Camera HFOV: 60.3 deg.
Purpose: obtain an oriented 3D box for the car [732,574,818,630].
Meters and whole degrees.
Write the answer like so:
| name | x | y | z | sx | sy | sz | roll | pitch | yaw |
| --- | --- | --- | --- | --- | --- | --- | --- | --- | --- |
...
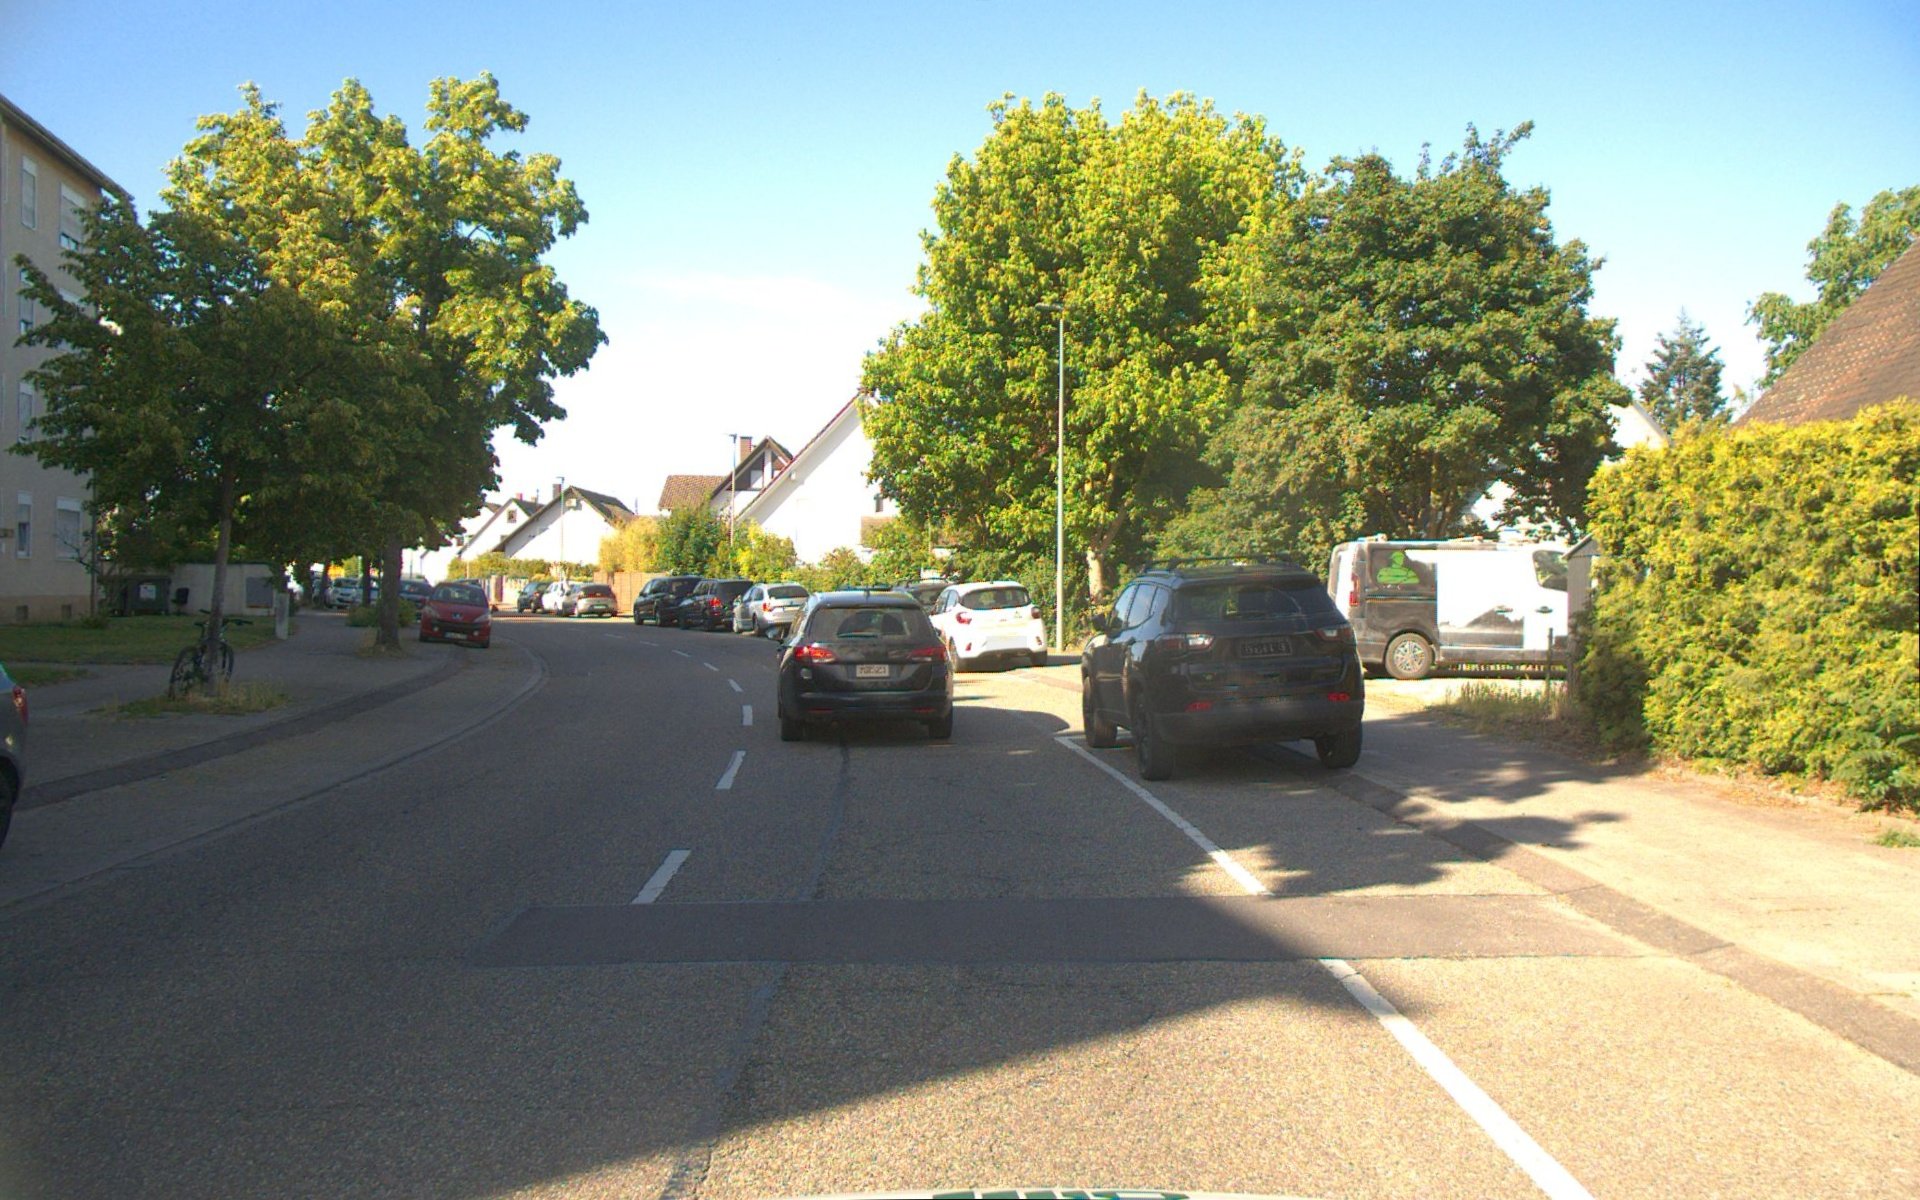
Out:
| name | x | y | z | sx | sy | sz | roll | pitch | yaw |
| --- | --- | --- | --- | --- | --- | --- | --- | --- | --- |
| car | -5.521 | 0.060 | 48.945 | 1.791 | 1.561 | 4.239 | 1 | 0 | -17 |

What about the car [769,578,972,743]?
| name | x | y | z | sx | sy | sz | roll | pitch | yaw |
| --- | --- | --- | --- | --- | --- | --- | --- | --- | --- |
| car | -1.087 | 0.586 | 17.867 | 1.729 | 1.517 | 4.282 | 2 | 0 | -9 |

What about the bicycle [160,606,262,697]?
| name | x | y | z | sx | sy | sz | roll | pitch | yaw |
| --- | --- | --- | --- | --- | --- | --- | --- | --- | --- |
| bicycle | -8.732 | 0.579 | 19.345 | 0.359 | 0.986 | 1.884 | 0 | 0 | -1 |

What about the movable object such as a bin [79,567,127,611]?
| name | x | y | z | sx | sy | sz | roll | pitch | yaw |
| --- | --- | --- | --- | --- | --- | --- | --- | --- | --- |
| movable object such as a bin | -27.360 | -0.343 | 52.829 | 1.153 | 1.345 | 1.083 | 1 | -2 | -17 |

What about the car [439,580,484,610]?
| name | x | y | z | sx | sy | sz | roll | pitch | yaw |
| --- | --- | --- | --- | --- | --- | --- | --- | --- | --- |
| car | -30.340 | -0.276 | 100.551 | 1.981 | 1.754 | 4.258 | 1 | 0 | -26 |

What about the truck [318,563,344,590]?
| name | x | y | z | sx | sy | sz | roll | pitch | yaw |
| --- | --- | --- | --- | --- | --- | --- | --- | --- | --- |
| truck | -67.037 | -2.443 | 176.312 | 2.178 | 2.645 | 5.101 | 1 | -2 | -26 |

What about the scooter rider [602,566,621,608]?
| name | x | y | z | sx | sy | sz | roll | pitch | yaw |
| --- | --- | --- | --- | --- | --- | --- | --- | --- | --- |
| scooter rider | -17.045 | -0.628 | 80.870 | 0.677 | 2.049 | 0.813 | 1 | -2 | -26 |

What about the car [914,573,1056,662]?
| name | x | y | z | sx | sy | sz | roll | pitch | yaw |
| --- | --- | --- | --- | --- | --- | --- | --- | --- | --- |
| car | 0.381 | 0.301 | 30.292 | 1.729 | 1.506 | 4.282 | 1 | 0 | -11 |

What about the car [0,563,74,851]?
| name | x | y | z | sx | sy | sz | roll | pitch | yaw |
| --- | --- | --- | --- | --- | --- | --- | --- | --- | --- |
| car | -6.002 | 0.551 | 7.656 | 1.536 | 1.556 | 3.919 | 5 | 1 | 1 |

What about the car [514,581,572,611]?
| name | x | y | z | sx | sy | sz | roll | pitch | yaw |
| --- | --- | --- | --- | --- | --- | --- | --- | --- | --- |
| car | -20.554 | -0.207 | 81.424 | 1.894 | 1.432 | 4.256 | 1 | 0 | -27 |

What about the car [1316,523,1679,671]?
| name | x | y | z | sx | sy | sz | roll | pitch | yaw |
| --- | --- | --- | --- | --- | --- | --- | --- | --- | --- |
| car | 7.703 | -0.039 | 24.060 | 4.585 | 2.018 | 2.143 | 1 | 0 | -1 |

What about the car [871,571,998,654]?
| name | x | y | z | sx | sy | sz | roll | pitch | yaw |
| --- | --- | --- | --- | --- | --- | --- | --- | --- | --- |
| car | -0.609 | 0.251 | 34.798 | 1.878 | 1.628 | 4.280 | 1 | 0 | -12 |

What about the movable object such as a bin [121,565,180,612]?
| name | x | y | z | sx | sy | sz | roll | pitch | yaw |
| --- | --- | --- | --- | --- | --- | --- | --- | --- | --- |
| movable object such as a bin | -26.035 | -0.372 | 53.237 | 1.493 | 1.452 | 1.083 | 1 | -2 | -17 |

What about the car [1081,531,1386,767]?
| name | x | y | z | sx | sy | sz | roll | pitch | yaw |
| --- | --- | --- | --- | --- | --- | --- | --- | --- | --- |
| car | 2.216 | 0.377 | 14.559 | 1.742 | 1.754 | 4.291 | 1 | 0 | -3 |

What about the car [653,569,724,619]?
| name | x | y | z | sx | sy | sz | roll | pitch | yaw |
| --- | --- | --- | --- | --- | --- | --- | --- | --- | --- |
| car | -9.794 | -0.196 | 59.384 | 1.874 | 1.695 | 4.169 | 1 | 0 | -18 |

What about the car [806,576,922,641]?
| name | x | y | z | sx | sy | sz | roll | pitch | yaw |
| --- | --- | --- | --- | --- | --- | --- | --- | --- | --- |
| car | -2.430 | 0.202 | 40.780 | 1.973 | 1.501 | 4.275 | 1 | 0 | -16 |

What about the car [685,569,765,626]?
| name | x | y | z | sx | sy | sz | roll | pitch | yaw |
| --- | --- | --- | --- | --- | --- | --- | --- | --- | --- |
| car | -7.715 | -0.065 | 53.936 | 1.974 | 1.754 | 4.274 | 1 | 0 | -17 |

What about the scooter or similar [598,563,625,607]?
| name | x | y | z | sx | sy | sz | roll | pitch | yaw |
| --- | --- | --- | --- | --- | --- | --- | --- | --- | --- |
| scooter or similar | -17.039 | -0.710 | 80.857 | 0.676 | 2.049 | 2.939 | 1 | -2 | -24 |

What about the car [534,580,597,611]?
| name | x | y | z | sx | sy | sz | roll | pitch | yaw |
| --- | --- | --- | --- | --- | --- | --- | --- | --- | --- |
| car | -18.416 | -0.204 | 77.106 | 1.894 | 1.432 | 4.256 | 1 | 0 | -27 |

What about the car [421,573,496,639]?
| name | x | y | z | sx | sy | sz | roll | pitch | yaw |
| --- | --- | --- | --- | --- | --- | --- | --- | --- | --- |
| car | -12.677 | 0.143 | 41.797 | 1.662 | 1.517 | 4.270 | 2 | 0 | -17 |

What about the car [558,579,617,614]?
| name | x | y | z | sx | sy | sz | roll | pitch | yaw |
| --- | --- | --- | --- | --- | --- | --- | --- | --- | --- |
| car | -16.099 | -0.144 | 71.412 | 1.889 | 1.432 | 4.267 | 1 | 0 | -21 |
